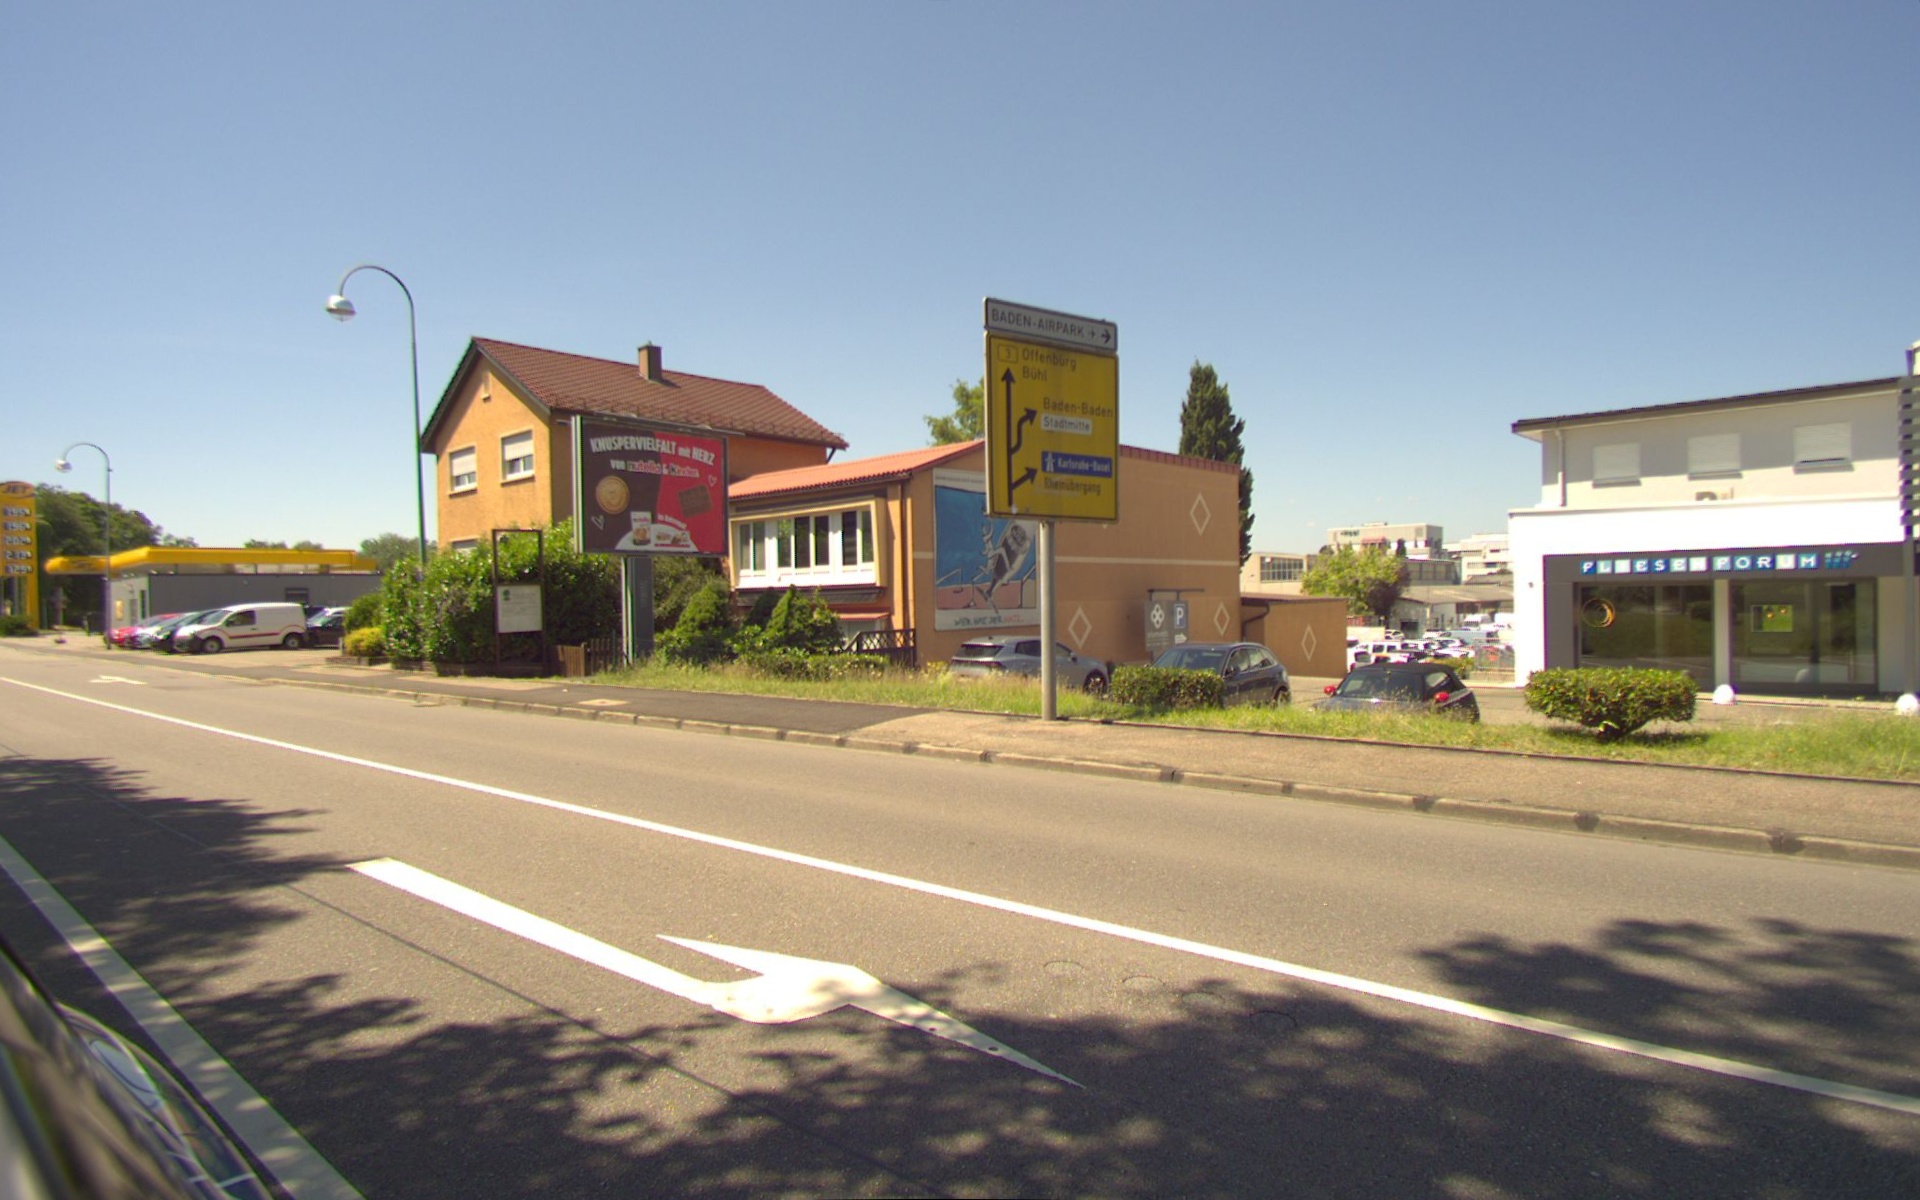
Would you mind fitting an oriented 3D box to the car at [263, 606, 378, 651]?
[{"bbox_3d":[-28.040,1.202,44.455,1.998,1.875,3.864,-1,-1,39],"label":"car"}]

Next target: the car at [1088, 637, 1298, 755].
[{"bbox_3d":[4.351,1.621,18.465,1.895,1.699,4.285,-1,0,42],"label":"car"}]

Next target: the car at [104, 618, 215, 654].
[{"bbox_3d":[-36.125,1.604,45.736,1.890,1.468,3.628,-1,0,38],"label":"car"}]

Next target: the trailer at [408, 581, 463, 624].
[{"bbox_3d":[-41.414,0.205,79.851,5.911,3.244,1.845,-2,-1,41],"label":"trailer"}]

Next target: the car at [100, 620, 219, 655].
[{"bbox_3d":[-37.514,1.724,47.499,1.825,1.455,4.084,-1,0,40],"label":"car"}]

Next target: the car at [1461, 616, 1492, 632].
[{"bbox_3d":[61.111,2.837,119.727,3.939,1.843,2.002,-1,0,-43],"label":"car"}]

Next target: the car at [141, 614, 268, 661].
[{"bbox_3d":[-29.470,1.415,39.531,1.920,1.685,3.628,-1,0,38],"label":"car"}]

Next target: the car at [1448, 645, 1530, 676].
[{"bbox_3d":[31.515,3.586,60.347,3.998,1.648,1.824,-1,-1,41],"label":"car"}]

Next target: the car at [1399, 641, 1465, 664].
[{"bbox_3d":[33.532,3.704,71.940,3.998,1.486,1.733,-1,0,41],"label":"car"}]

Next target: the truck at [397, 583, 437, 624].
[{"bbox_3d":[-44.119,0.291,82.271,3.188,3.267,1.826,-2,-1,41],"label":"truck"}]

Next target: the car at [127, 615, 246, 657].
[{"bbox_3d":[-32.556,1.480,42.659,1.920,1.593,3.628,-1,0,38],"label":"car"}]

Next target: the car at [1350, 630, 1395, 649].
[{"bbox_3d":[34.282,3.240,84.167,3.220,1.488,1.350,-1,0,41],"label":"car"}]

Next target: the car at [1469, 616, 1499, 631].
[{"bbox_3d":[59.005,2.595,114.029,2.000,1.608,3.943,-1,-1,43],"label":"car"}]

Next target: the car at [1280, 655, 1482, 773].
[{"bbox_3d":[6.575,1.661,15.671,1.781,1.434,3.300,-1,-1,45],"label":"car"}]

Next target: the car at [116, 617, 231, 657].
[{"bbox_3d":[-34.219,1.568,44.085,1.879,1.617,3.628,-1,0,38],"label":"car"}]

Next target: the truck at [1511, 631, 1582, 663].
[{"bbox_3d":[40.252,3.216,69.446,3.982,1.992,1.663,-1,0,41],"label":"truck"}]

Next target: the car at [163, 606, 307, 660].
[{"bbox_3d":[-27.547,1.203,38.570,1.996,1.912,4.057,-1,0,36],"label":"car"}]

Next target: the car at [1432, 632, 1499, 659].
[{"bbox_3d":[36.485,3.248,73.093,3.998,1.829,1.973,-1,-1,41],"label":"car"}]

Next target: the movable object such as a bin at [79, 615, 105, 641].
[{"bbox_3d":[-54.560,1.781,63.630,1.427,1.528,0.942,-3,3,42],"label":"movable object such as a bin"}]

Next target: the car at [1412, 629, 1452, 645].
[{"bbox_3d":[44.742,3.471,95.918,3.124,1.395,1.663,-1,0,41],"label":"car"}]

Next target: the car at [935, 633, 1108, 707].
[{"bbox_3d":[1.480,1.551,23.534,3.979,1.462,1.781,0,-1,-43],"label":"car"}]

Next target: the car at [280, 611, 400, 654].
[{"bbox_3d":[-26.249,1.350,42.960,1.828,1.580,3.948,-2,0,39],"label":"car"}]

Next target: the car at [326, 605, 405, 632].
[{"bbox_3d":[-37.006,1.107,63.047,1.754,1.596,3.944,-1,0,42],"label":"car"}]

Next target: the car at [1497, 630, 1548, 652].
[{"bbox_3d":[42.254,3.037,76.023,3.124,1.545,1.663,-1,0,41],"label":"car"}]

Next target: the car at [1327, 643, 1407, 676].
[{"bbox_3d":[23.709,3.436,58.965,3.998,1.665,1.725,-1,0,41],"label":"car"}]

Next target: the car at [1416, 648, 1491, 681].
[{"bbox_3d":[27.492,3.556,56.404,3.466,1.604,1.702,-1,0,41],"label":"car"}]

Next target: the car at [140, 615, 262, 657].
[{"bbox_3d":[-30.931,1.428,41.320,1.920,1.543,3.628,-1,0,38],"label":"car"}]

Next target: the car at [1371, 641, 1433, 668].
[{"bbox_3d":[28.072,3.450,64.332,3.320,1.558,1.509,-1,0,41],"label":"car"}]

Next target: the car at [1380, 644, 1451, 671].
[{"bbox_3d":[30.777,3.863,68.395,3.998,1.617,1.813,-1,0,41],"label":"car"}]

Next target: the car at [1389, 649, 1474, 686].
[{"bbox_3d":[25.145,3.585,54.042,3.816,1.740,1.729,-1,0,41],"label":"car"}]
